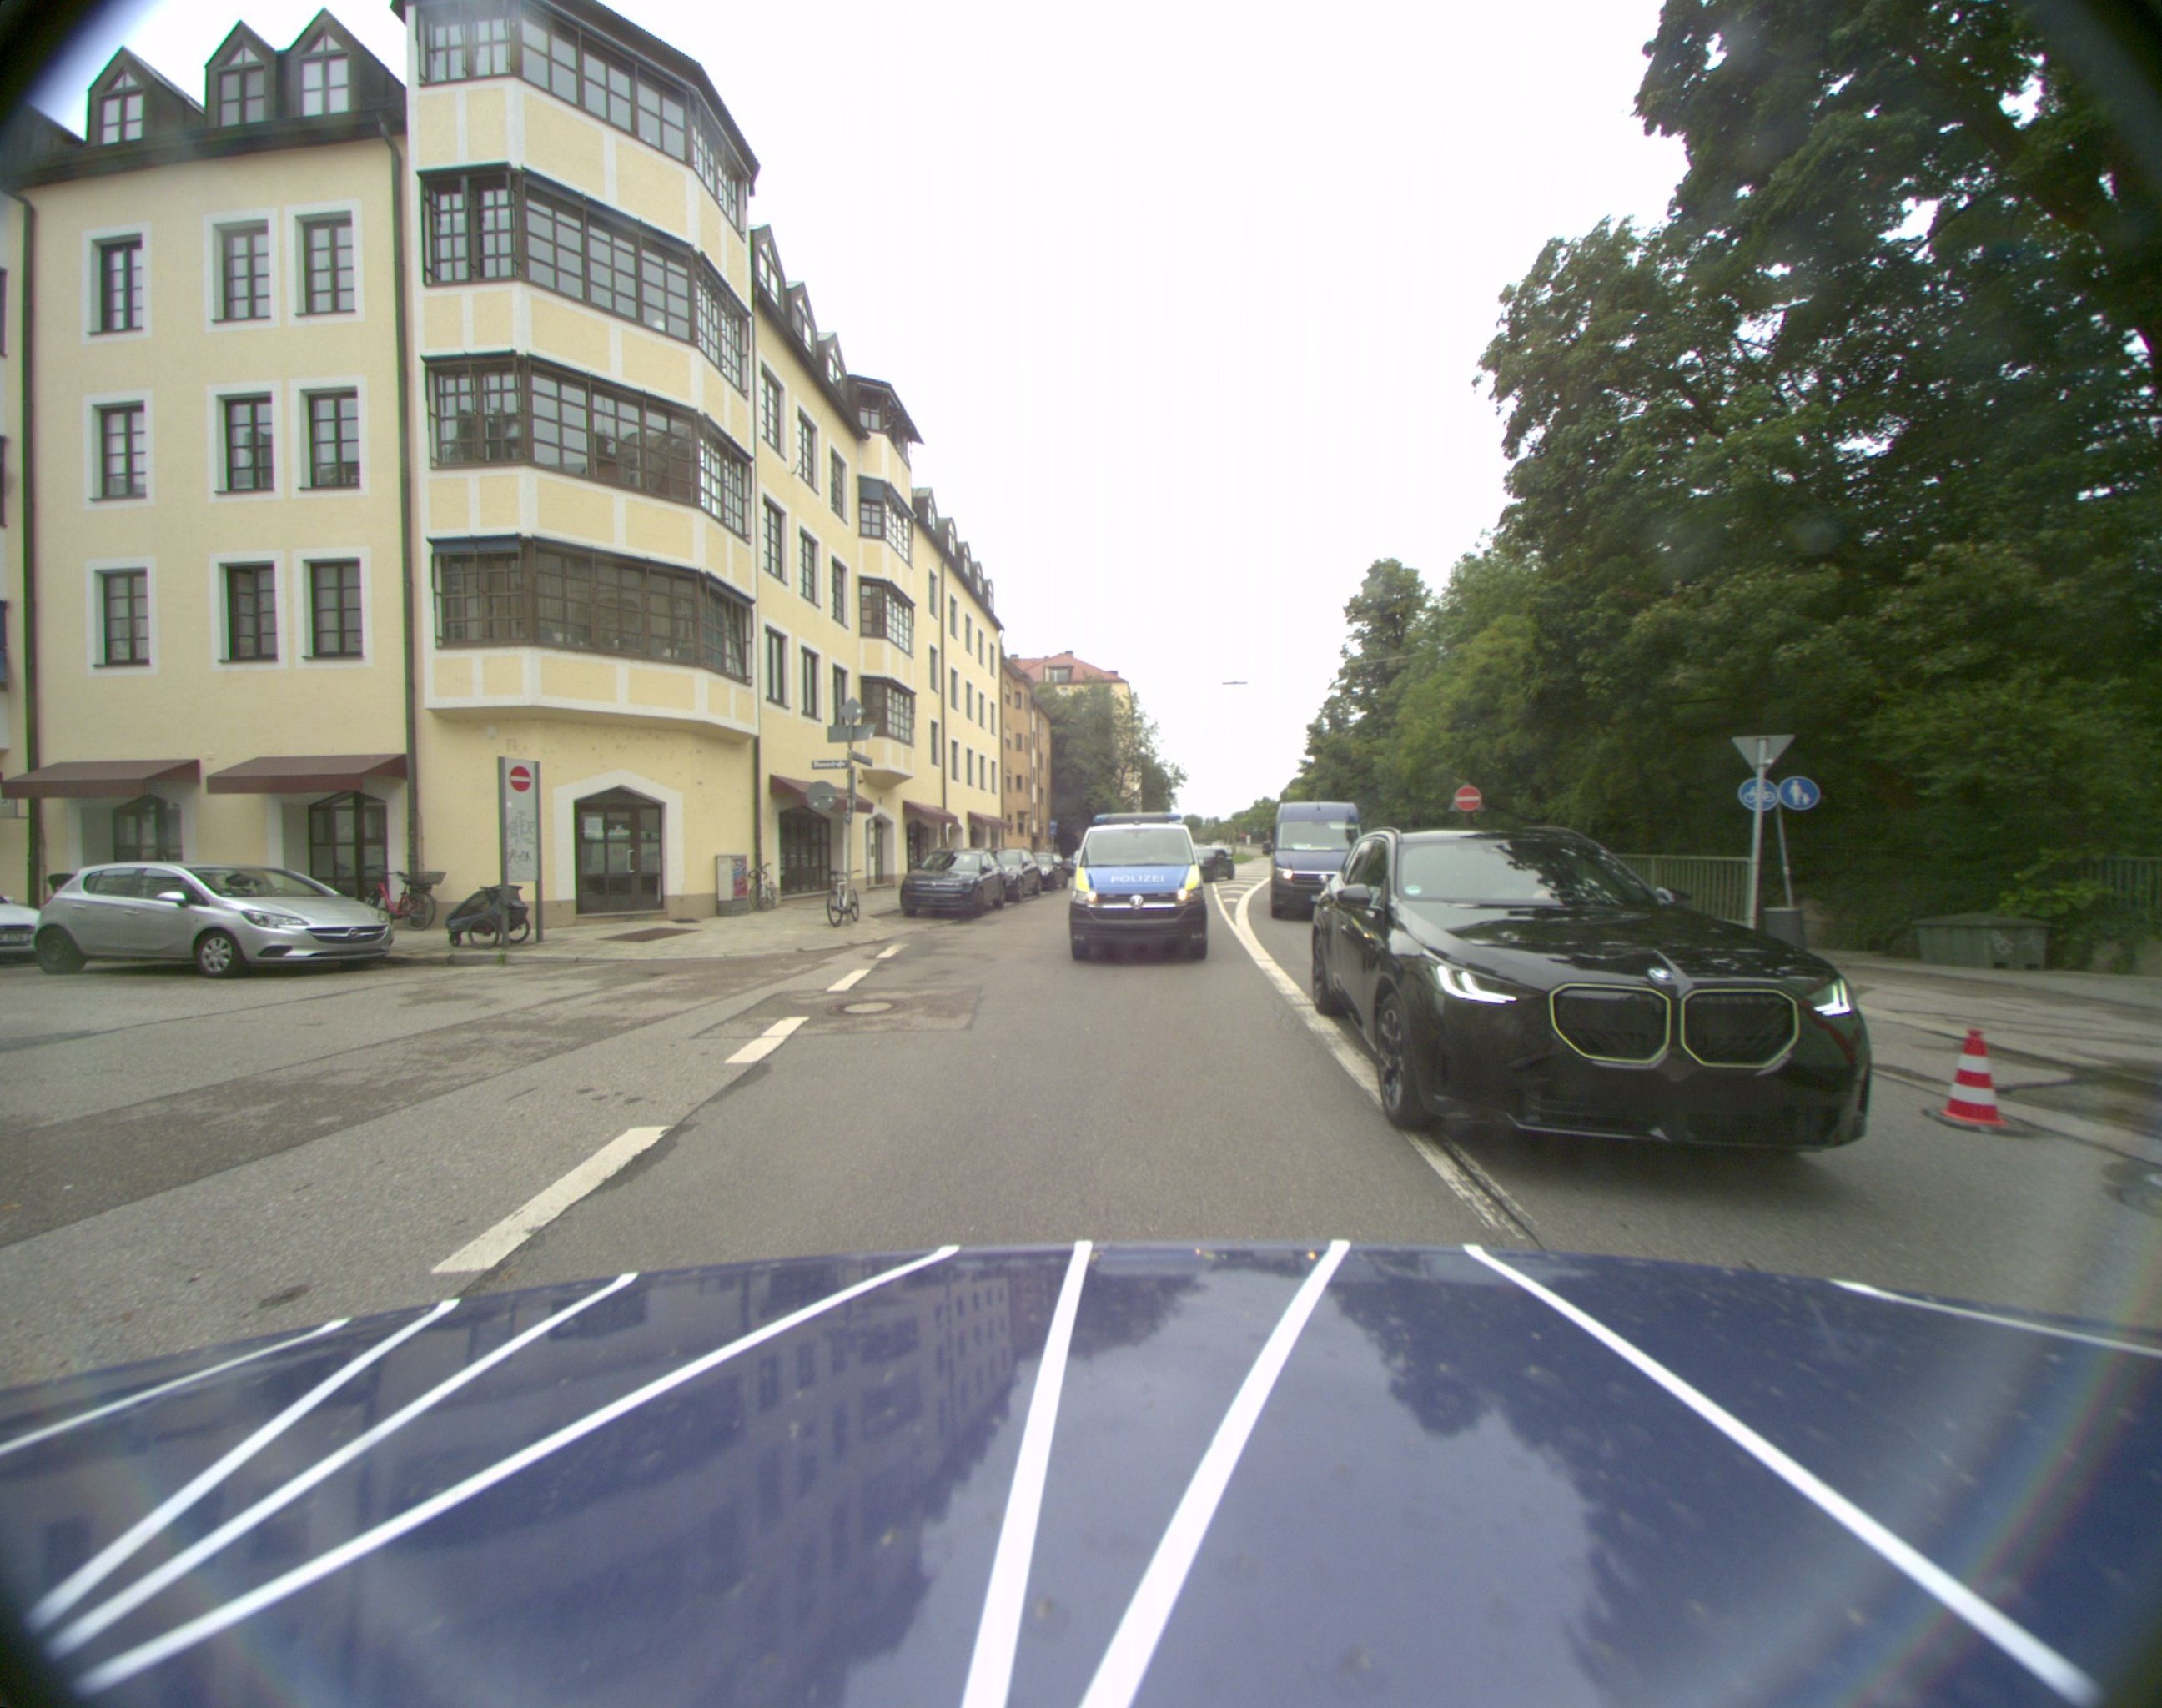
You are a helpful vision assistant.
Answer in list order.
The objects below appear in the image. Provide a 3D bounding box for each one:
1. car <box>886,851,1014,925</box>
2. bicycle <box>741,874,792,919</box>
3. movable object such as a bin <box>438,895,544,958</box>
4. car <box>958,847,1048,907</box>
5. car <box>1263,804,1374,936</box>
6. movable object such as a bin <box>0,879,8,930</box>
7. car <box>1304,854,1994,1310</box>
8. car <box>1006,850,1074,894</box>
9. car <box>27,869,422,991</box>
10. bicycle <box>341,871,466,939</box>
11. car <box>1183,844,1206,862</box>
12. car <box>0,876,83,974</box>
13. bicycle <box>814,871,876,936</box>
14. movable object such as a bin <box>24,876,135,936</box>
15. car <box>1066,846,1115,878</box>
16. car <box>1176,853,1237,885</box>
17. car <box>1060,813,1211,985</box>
[{"bbox_3d":[-3.176,0.771,19.444,2.111,1.613,4.498,0,1,5],"label":"car"},{"bbox_3d":[-7.362,0.973,17.858,0.262,0.897,1.696,4,2,7],"label":"bicycle"},{"bbox_3d":[-9.148,1.117,11.807,1.125,0.895,0.684,0,1,6],"label":"movable object such as a bin"},{"bbox_3d":[-2.410,0.663,24.637,1.816,1.580,4.166,4,2,8],"label":"car"},{"bbox_3d":[5.364,0.221,17.502,2.003,2.477,6.238,0,2,16],"label":"car"},{"bbox_3d":[-21.806,0.996,14.726,1.125,1.008,0.684,0,1,6],"label":"movable object such as a bin"},{"bbox_3d":[2.701,0.827,5.018,1.919,1.557,4.296,0,1,10],"label":"car"},{"bbox_3d":[-1.528,0.646,29.692,1.763,1.514,3.935,1,1,10],"label":"car"},{"bbox_3d":[-11.411,0.946,10.256,3.741,1.431,1.753,0,-2,9],"label":"car"},{"bbox_3d":[-12.230,0.905,13.732,1.904,1.180,0.515,0,1,6],"label":"bicycle"},{"bbox_3d":[10.989,-0.115,73.384,1.997,1.587,4.003,1,1,11],"label":"car"},{"bbox_3d":[-16.910,1.014,10.900,3.451,1.330,1.640,1,1,8],"label":"car"},{"bbox_3d":[-4.780,0.960,15.513,0.430,1.152,2.053,1,1,6],"label":"bicycle"},{"bbox_3d":[-19.054,0.967,14.474,1.125,1.075,0.767,0,1,6],"label":"movable object such as a bin"},{"bbox_3d":[0.599,0.370,42.413,1.882,1.642,5.620,1,1,9],"label":"car"},{"bbox_3d":[5.386,0.614,32.300,1.492,1.207,3.617,0,1,28],"label":"car"},{"bbox_3d":[1.013,0.520,12.191,1.825,2.087,5.635,1,1,7],"label":"car"}]
